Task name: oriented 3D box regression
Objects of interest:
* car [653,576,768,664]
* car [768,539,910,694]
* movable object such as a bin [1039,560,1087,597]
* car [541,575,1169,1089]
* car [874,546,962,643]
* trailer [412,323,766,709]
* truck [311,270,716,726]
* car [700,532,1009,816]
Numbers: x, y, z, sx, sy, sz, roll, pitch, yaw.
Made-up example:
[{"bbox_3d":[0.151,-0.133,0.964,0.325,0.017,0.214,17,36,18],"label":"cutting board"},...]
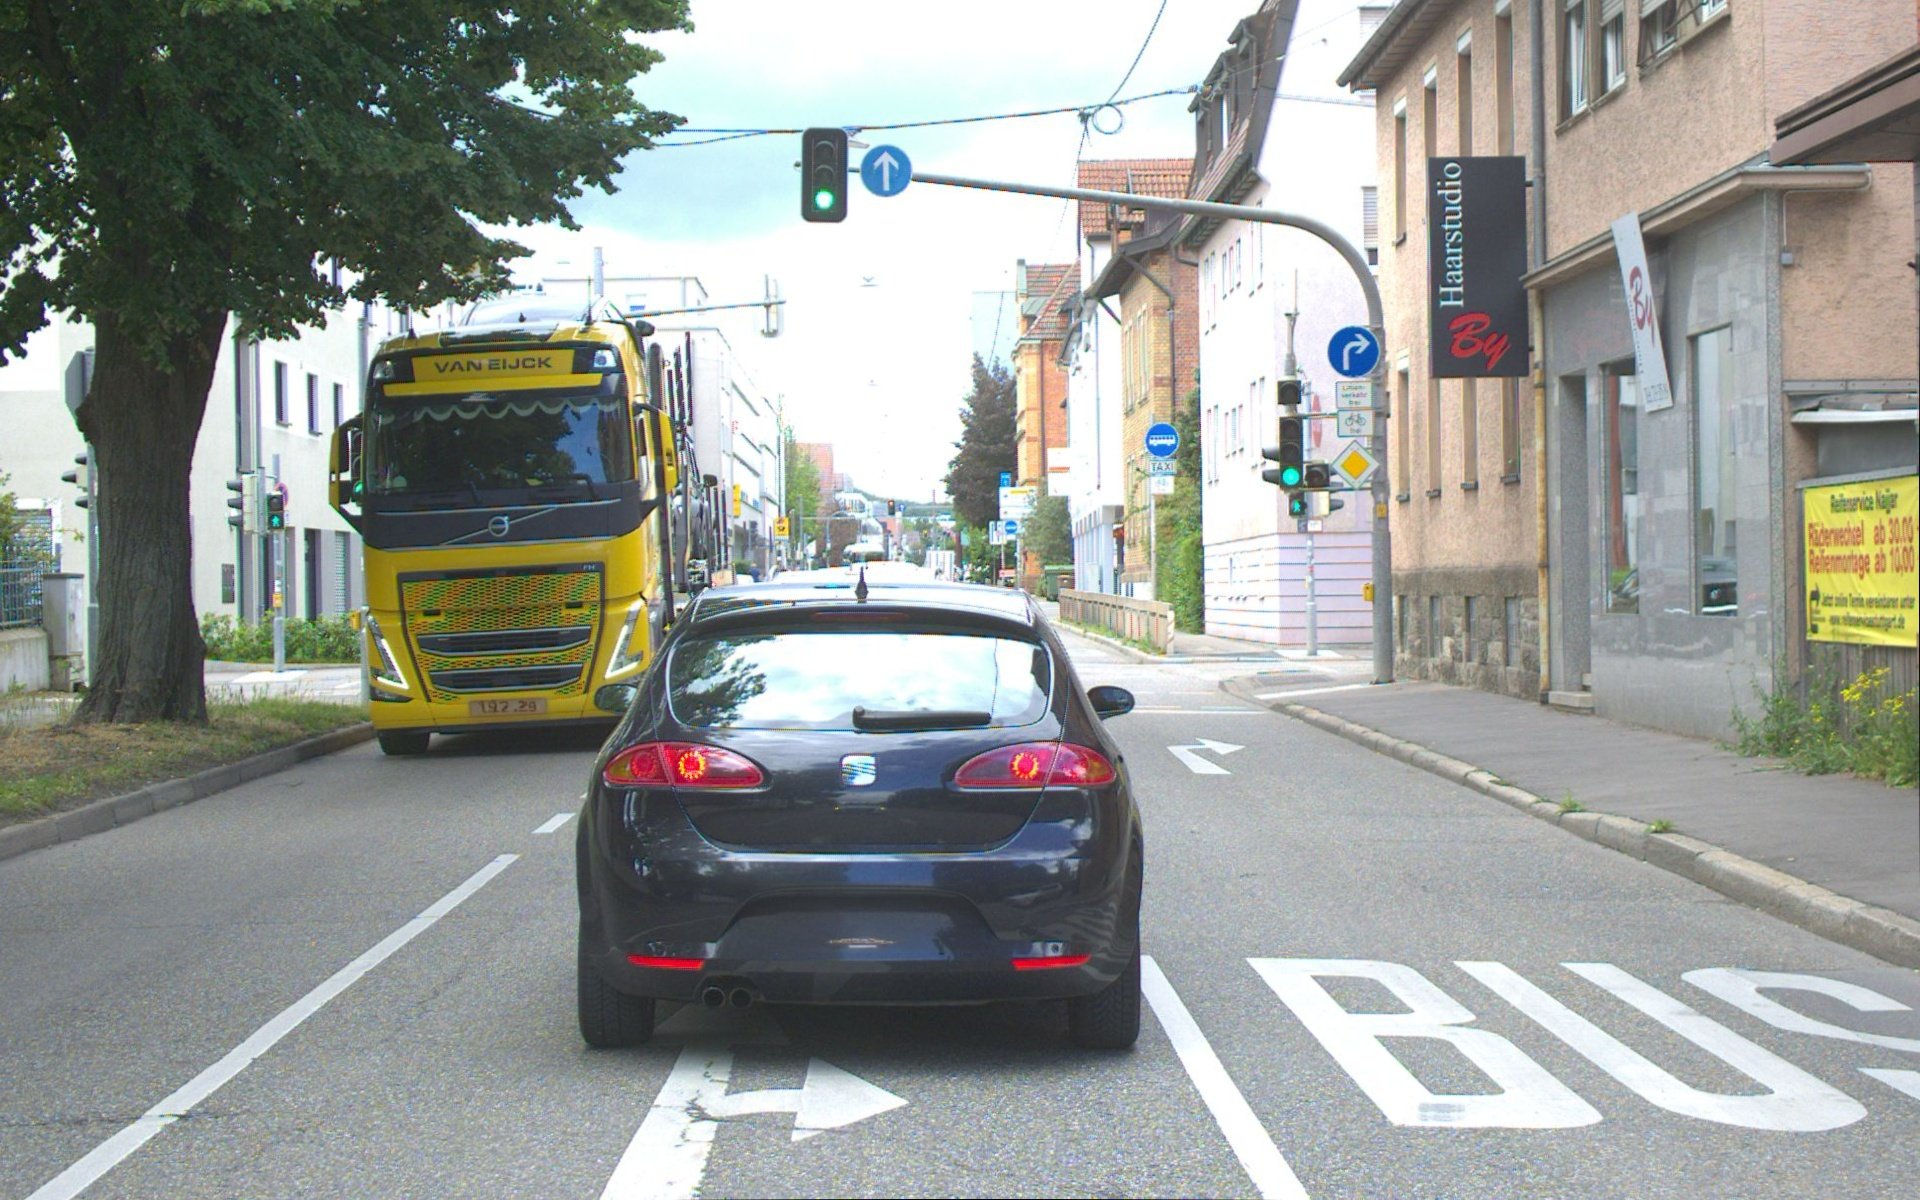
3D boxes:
[{"bbox_3d":[-4.556,0.357,63.289,1.767,1.465,4.226,-3,0,0],"label":"car"},{"bbox_3d":[-1.362,0.177,39.423,1.531,1.687,3.693,0,0,-1],"label":"car"},{"bbox_3d":[4.109,-0.855,137.304,1.818,1.432,1.993,0,0,0],"label":"movable object such as a bin"},{"bbox_3d":[-0.329,0.651,11.694,1.759,1.437,4.000,0,0,-1],"label":"car"},{"bbox_3d":[-0.781,-0.095,62.273,1.531,1.687,3.693,0,0,-1],"label":"car"},{"bbox_3d":[-4.071,-0.849,41.177,2.858,3.795,14.391,0,0,-1],"label":"trailer"},{"bbox_3d":[-3.984,-0.854,32.431,2.843,3.769,7.669,0,0,0],"label":"truck"},{"bbox_3d":[-0.676,0.438,22.623,1.842,1.687,4.000,0,0,-1],"label":"car"}]
